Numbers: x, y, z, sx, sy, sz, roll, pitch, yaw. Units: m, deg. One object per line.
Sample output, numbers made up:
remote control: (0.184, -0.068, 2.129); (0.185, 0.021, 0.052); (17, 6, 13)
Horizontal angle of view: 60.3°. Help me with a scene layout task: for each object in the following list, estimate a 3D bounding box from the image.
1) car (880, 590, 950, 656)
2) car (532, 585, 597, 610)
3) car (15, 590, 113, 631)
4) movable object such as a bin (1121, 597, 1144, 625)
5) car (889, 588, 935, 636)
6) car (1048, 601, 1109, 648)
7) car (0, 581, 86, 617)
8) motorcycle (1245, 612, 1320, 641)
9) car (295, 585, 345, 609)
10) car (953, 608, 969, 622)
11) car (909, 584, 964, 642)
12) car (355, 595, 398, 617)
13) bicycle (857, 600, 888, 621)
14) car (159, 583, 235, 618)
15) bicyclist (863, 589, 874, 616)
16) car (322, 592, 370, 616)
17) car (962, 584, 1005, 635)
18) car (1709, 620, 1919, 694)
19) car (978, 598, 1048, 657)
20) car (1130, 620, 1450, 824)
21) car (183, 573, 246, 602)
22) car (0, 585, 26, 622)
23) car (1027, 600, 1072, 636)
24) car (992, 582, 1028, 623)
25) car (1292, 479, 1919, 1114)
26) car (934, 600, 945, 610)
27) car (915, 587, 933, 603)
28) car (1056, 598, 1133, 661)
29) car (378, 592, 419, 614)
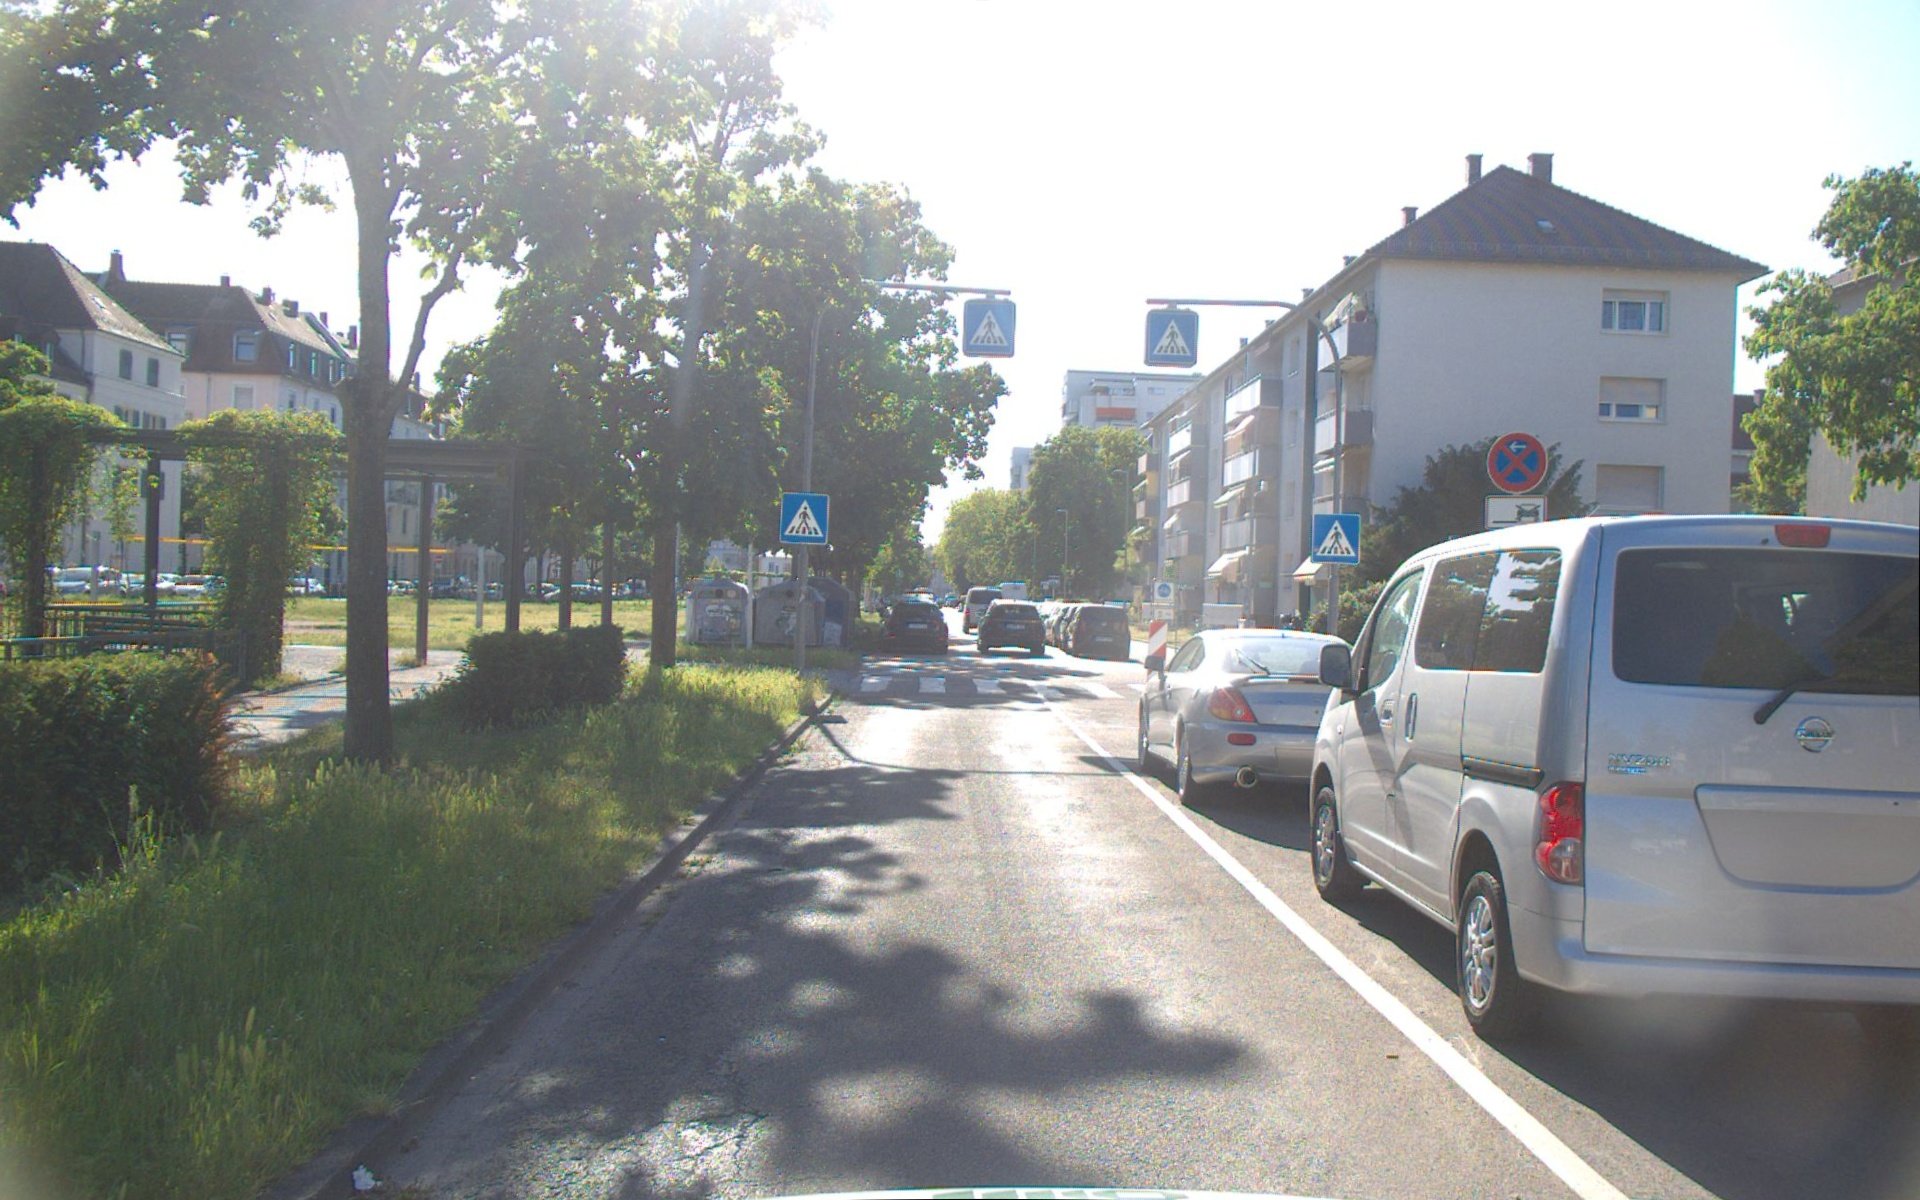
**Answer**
car: (-1.186, 0.590, 44.830); (1.758, 1.652, 3.999); (2, 0, -1)
car: (-26.329, -0.148, 110.094); (3.909, 1.536, 1.798); (2, 0, -5)
car: (-35.933, 0.390, 66.436); (1.758, 1.536, 3.999); (2, 0, -1)
movable object such as a bin: (9.864, 0.612, 94.575); (1.069, 1.536, 2.002); (2, 0, -1)
car: (-2.101, 0.519, 73.696); (1.953, 2.049, 3.999); (1, 0, -1)
car: (4.122, 0.822, 58.040); (1.758, 1.536, 3.999); (2, 0, -1)
car: (-41.409, -0.039, 74.642); (1.758, 1.536, 3.999); (2, 0, -1)
motorcycle: (11.691, 0.946, 59.987); (2.508, 0.952, 0.829); (2, 0, -4)
car: (-42.776, -0.192, 110.665); (1.758, 1.536, 3.999); (2, 0, -1)
car: (0.126, 1.700, 192.262); (1.758, 1.537, 3.999); (1, 0, -1)
car: (-0.881, 0.479, 61.746); (1.953, 2.049, 3.999); (1, 0, -1)
car: (-42.746, 0.400, 121.279); (1.758, 1.536, 3.999); (2, 0, -1)
bicycle: (-6.486, 0.790, 123.136); (2.277, 1.567, 0.630); (1, 0, -5)
car: (-36.042, 0.021, 78.247); (1.758, 1.536, 3.999); (2, 0, -1)
bicyclist: (-6.800, 0.169, 123.108); (0.755, 1.954, 0.630); (1, 0, -5)
car: (-42.915, 0.270, 115.664); (1.758, 1.536, 4.143); (2, 0, -1)
car: (1.014, 0.399, 72.954); (1.758, 2.159, 3.999); (2, 0, -1)
car: (20.114, 1.331, 38.692); (4.391, 1.567, 1.798); (2, -2, -4)
car: (1.438, 0.734, 46.210); (1.758, 1.536, 3.999); (2, 0, -1)
car: (2.520, 0.879, 13.633); (1.729, 1.342, 4.167); (3, -1, -1)
car: (-42.312, -0.715, 93.993); (1.758, 1.536, 3.999); (2, 0, -1)
car: (-41.174, 0.143, 69.301); (1.758, 1.536, 3.999); (2, 0, -1)
car: (4.037, 0.788, 74.917); (1.758, 1.536, 3.999); (2, 0, -1)
car: (3.186, 0.151, 105.488); (1.953, 2.472, 4.499); (4, 0, -1)
car: (2.769, 0.618, 7.241); (1.757, 1.887, 4.413); (2, 0, 1)
car: (-3.182, 0.734, 254.868); (1.758, 1.537, 3.999); (1, 0, -1)
car: (-3.692, -0.526, 169.621); (1.758, 1.537, 3.999); (1, 0, -1)
car: (3.783, 0.806, 46.933); (1.758, 1.629, 3.999); (2, 0, -1)
car: (-42.811, 0.227, 126.248); (1.758, 1.536, 3.999); (2, 0, -1)
